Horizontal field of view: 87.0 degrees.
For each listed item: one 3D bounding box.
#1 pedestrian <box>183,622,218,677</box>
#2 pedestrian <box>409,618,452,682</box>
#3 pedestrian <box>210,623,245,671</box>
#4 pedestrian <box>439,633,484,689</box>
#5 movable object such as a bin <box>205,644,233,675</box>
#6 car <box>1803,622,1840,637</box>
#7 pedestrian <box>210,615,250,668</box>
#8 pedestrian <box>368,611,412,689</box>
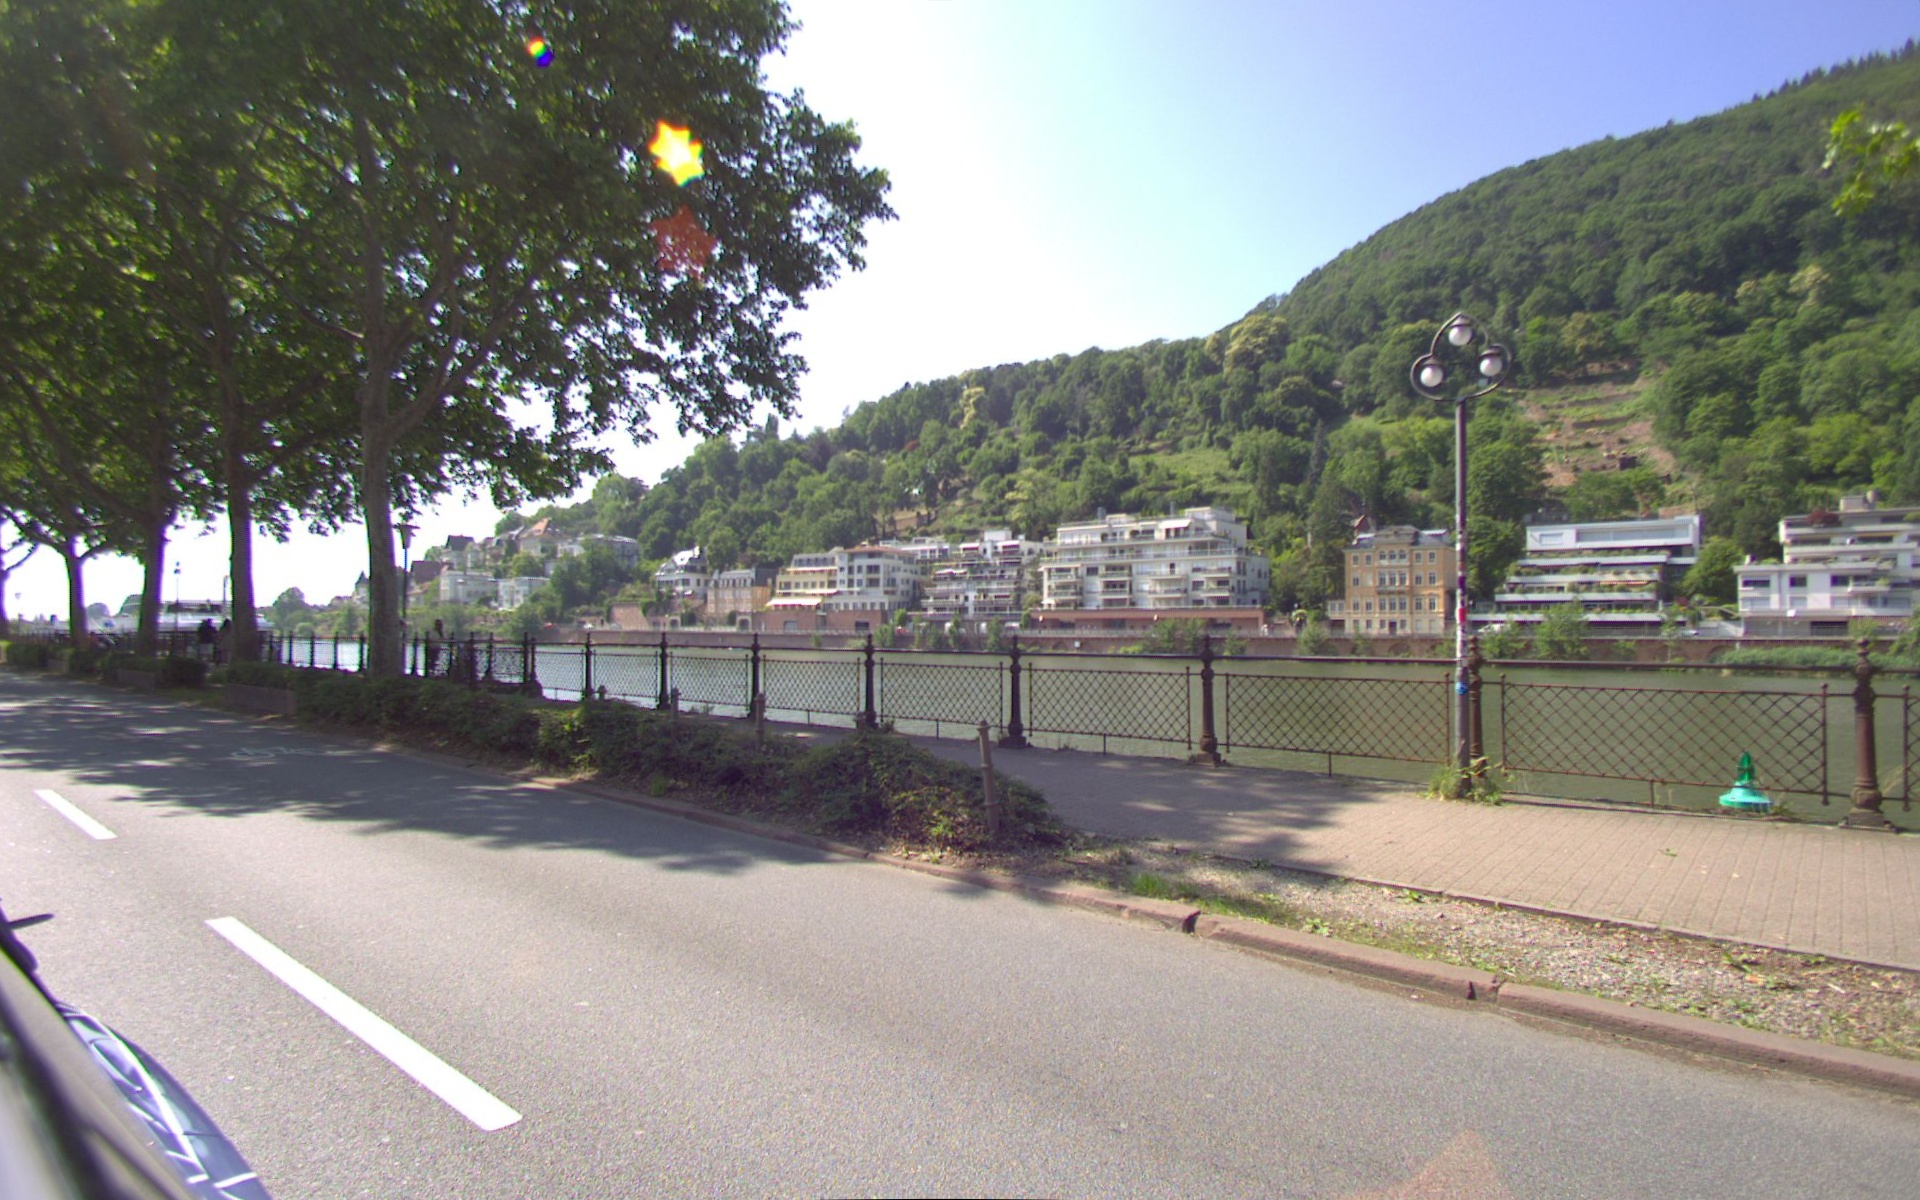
[{"bbox_3d":[-26.628,1.713,35.498,0.928,1.863,0.796,-1,0,41],"label":"pedestrian"},{"bbox_3d":[-15.081,1.425,28.834,0.829,1.771,0.767,-2,-4,40],"label":"pedestrian"},{"bbox_3d":[-26.046,1.669,35.971,0.885,1.647,1.060,0,0,-44],"label":"pedestrian"},{"bbox_3d":[-12.669,1.543,25.720,0.770,1.398,0.758,-2,-3,40],"label":"pedestrian"},{"bbox_3d":[-26.723,2.134,36.518,0.783,1.057,0.694,-1,0,44],"label":"movable object such as a bin"},{"bbox_3d":[125.654,4.330,147.607,3.998,2.029,1.973,-2,-1,41],"label":"car"},{"bbox_3d":[-29.215,1.646,40.495,1.032,2.029,1.038,-1,0,-19],"label":"pedestrian"},{"bbox_3d":[-14.302,1.253,25.376,0.756,1.915,0.771,3,-4,-42],"label":"pedestrian"}]
